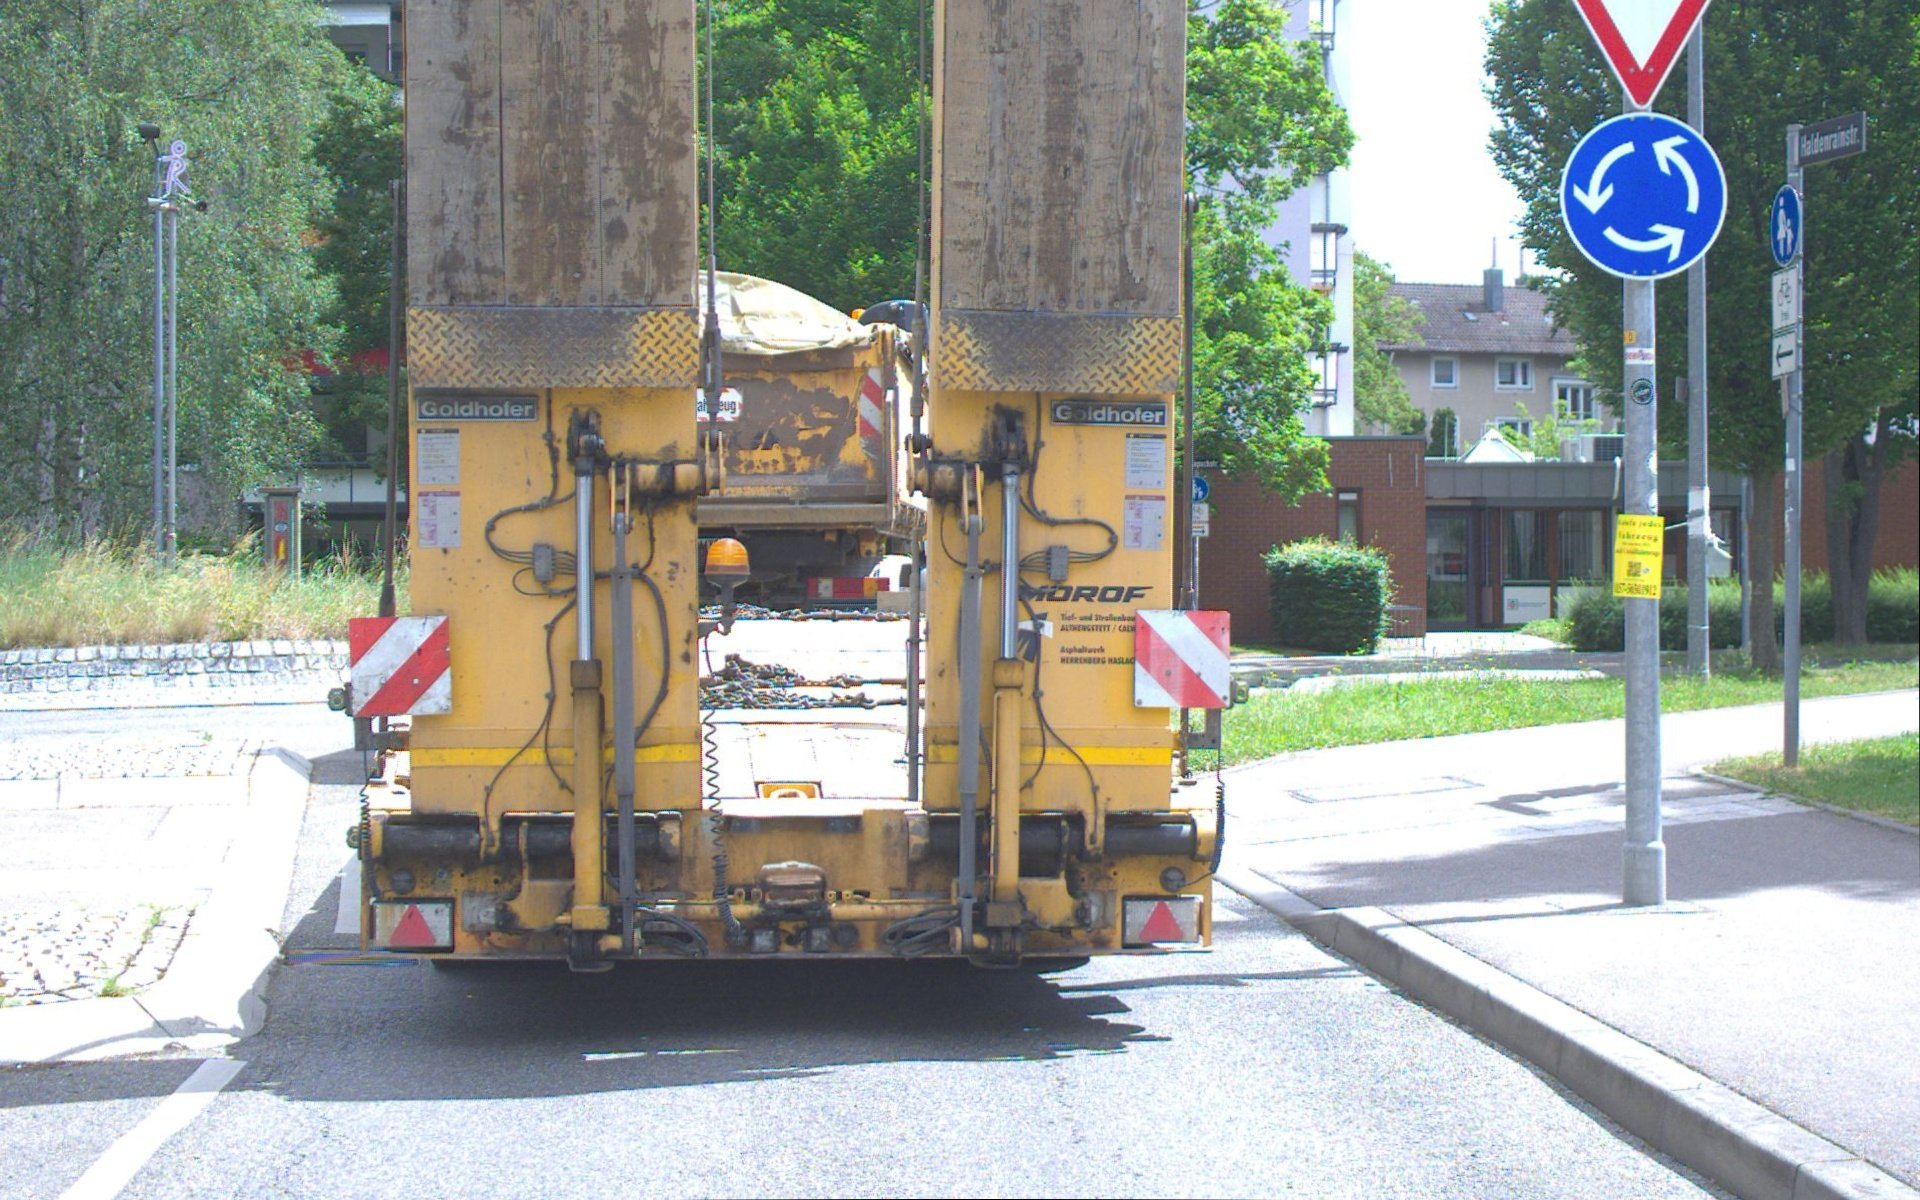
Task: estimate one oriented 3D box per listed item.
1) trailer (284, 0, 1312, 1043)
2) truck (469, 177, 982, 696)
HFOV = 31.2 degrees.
[{"bbox_3d":[-0.966,-0.551,15.154,2.863,3.361,10.843,1,1,-6],"label":"trailer"},{"bbox_3d":[-1.505,-1.113,24.665,2.987,3.024,8.487,1,2,-2],"label":"truck"}]
